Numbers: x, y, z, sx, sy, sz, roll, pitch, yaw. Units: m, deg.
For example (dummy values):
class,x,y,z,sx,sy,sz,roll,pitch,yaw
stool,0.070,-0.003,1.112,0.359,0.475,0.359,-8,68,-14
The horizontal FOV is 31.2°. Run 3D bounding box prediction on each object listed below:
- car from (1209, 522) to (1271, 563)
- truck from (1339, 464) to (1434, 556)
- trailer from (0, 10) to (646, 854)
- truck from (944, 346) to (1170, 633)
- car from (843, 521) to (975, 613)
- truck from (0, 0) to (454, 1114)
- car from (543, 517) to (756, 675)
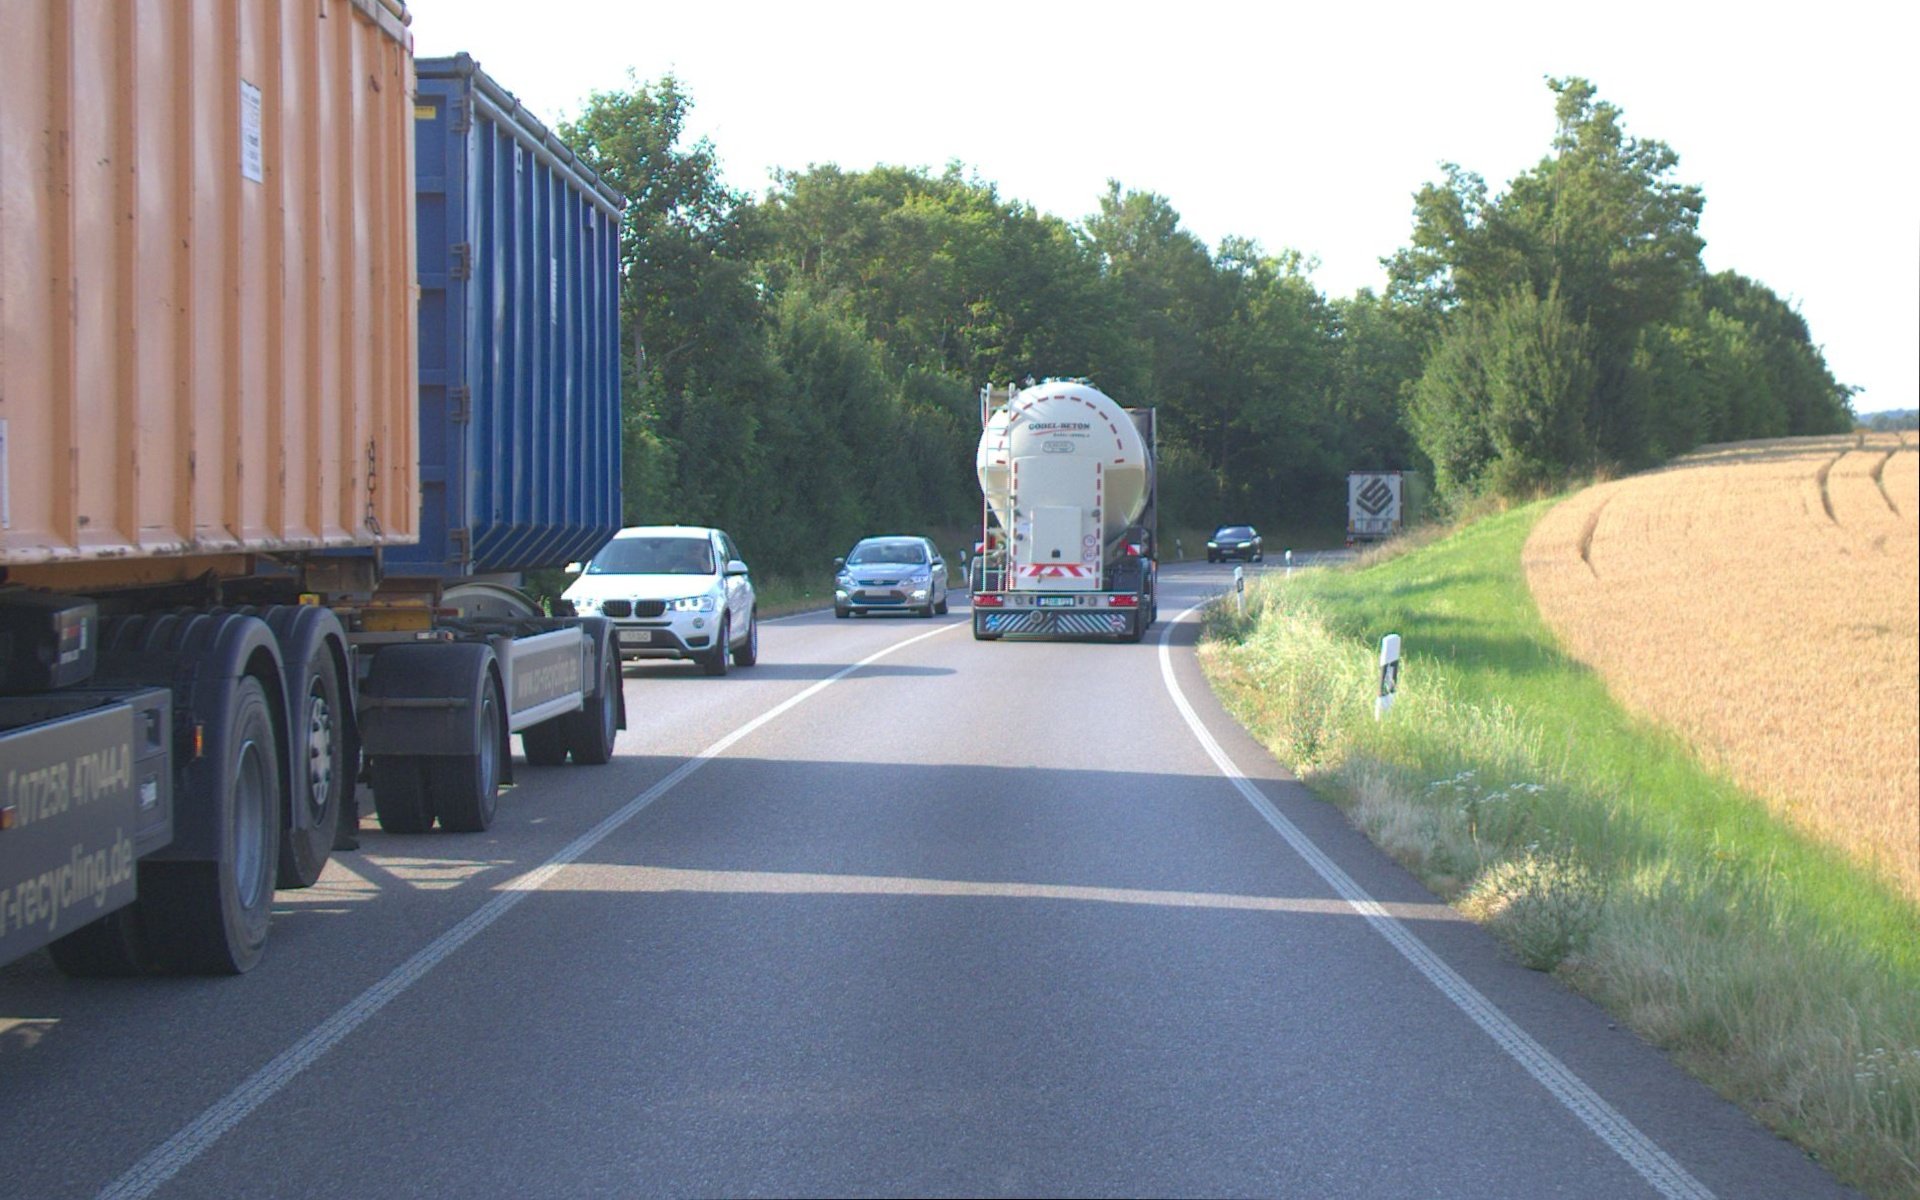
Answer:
class,x,y,z,sx,sy,sz,roll,pitch,yaw
car,11.942,-2.468,146.507,1.976,1.645,4.734,0,2,12
truck,20.663,-4.368,165.901,3.185,4.213,13.165,0,2,13
trailer,-3.535,-0.837,20.486,2.364,3.907,8.961,-1,1,1
truck,1.797,-1.694,56.264,2.893,4.128,13.170,0,1,5
car,-0.923,-0.653,65.390,1.975,1.645,4.361,-1,2,6
truck,-3.620,-0.669,10.880,2.389,3.907,10.160,-1,1,1
car,-3.479,-0.095,39.316,1.975,1.645,4.362,-1,2,1
